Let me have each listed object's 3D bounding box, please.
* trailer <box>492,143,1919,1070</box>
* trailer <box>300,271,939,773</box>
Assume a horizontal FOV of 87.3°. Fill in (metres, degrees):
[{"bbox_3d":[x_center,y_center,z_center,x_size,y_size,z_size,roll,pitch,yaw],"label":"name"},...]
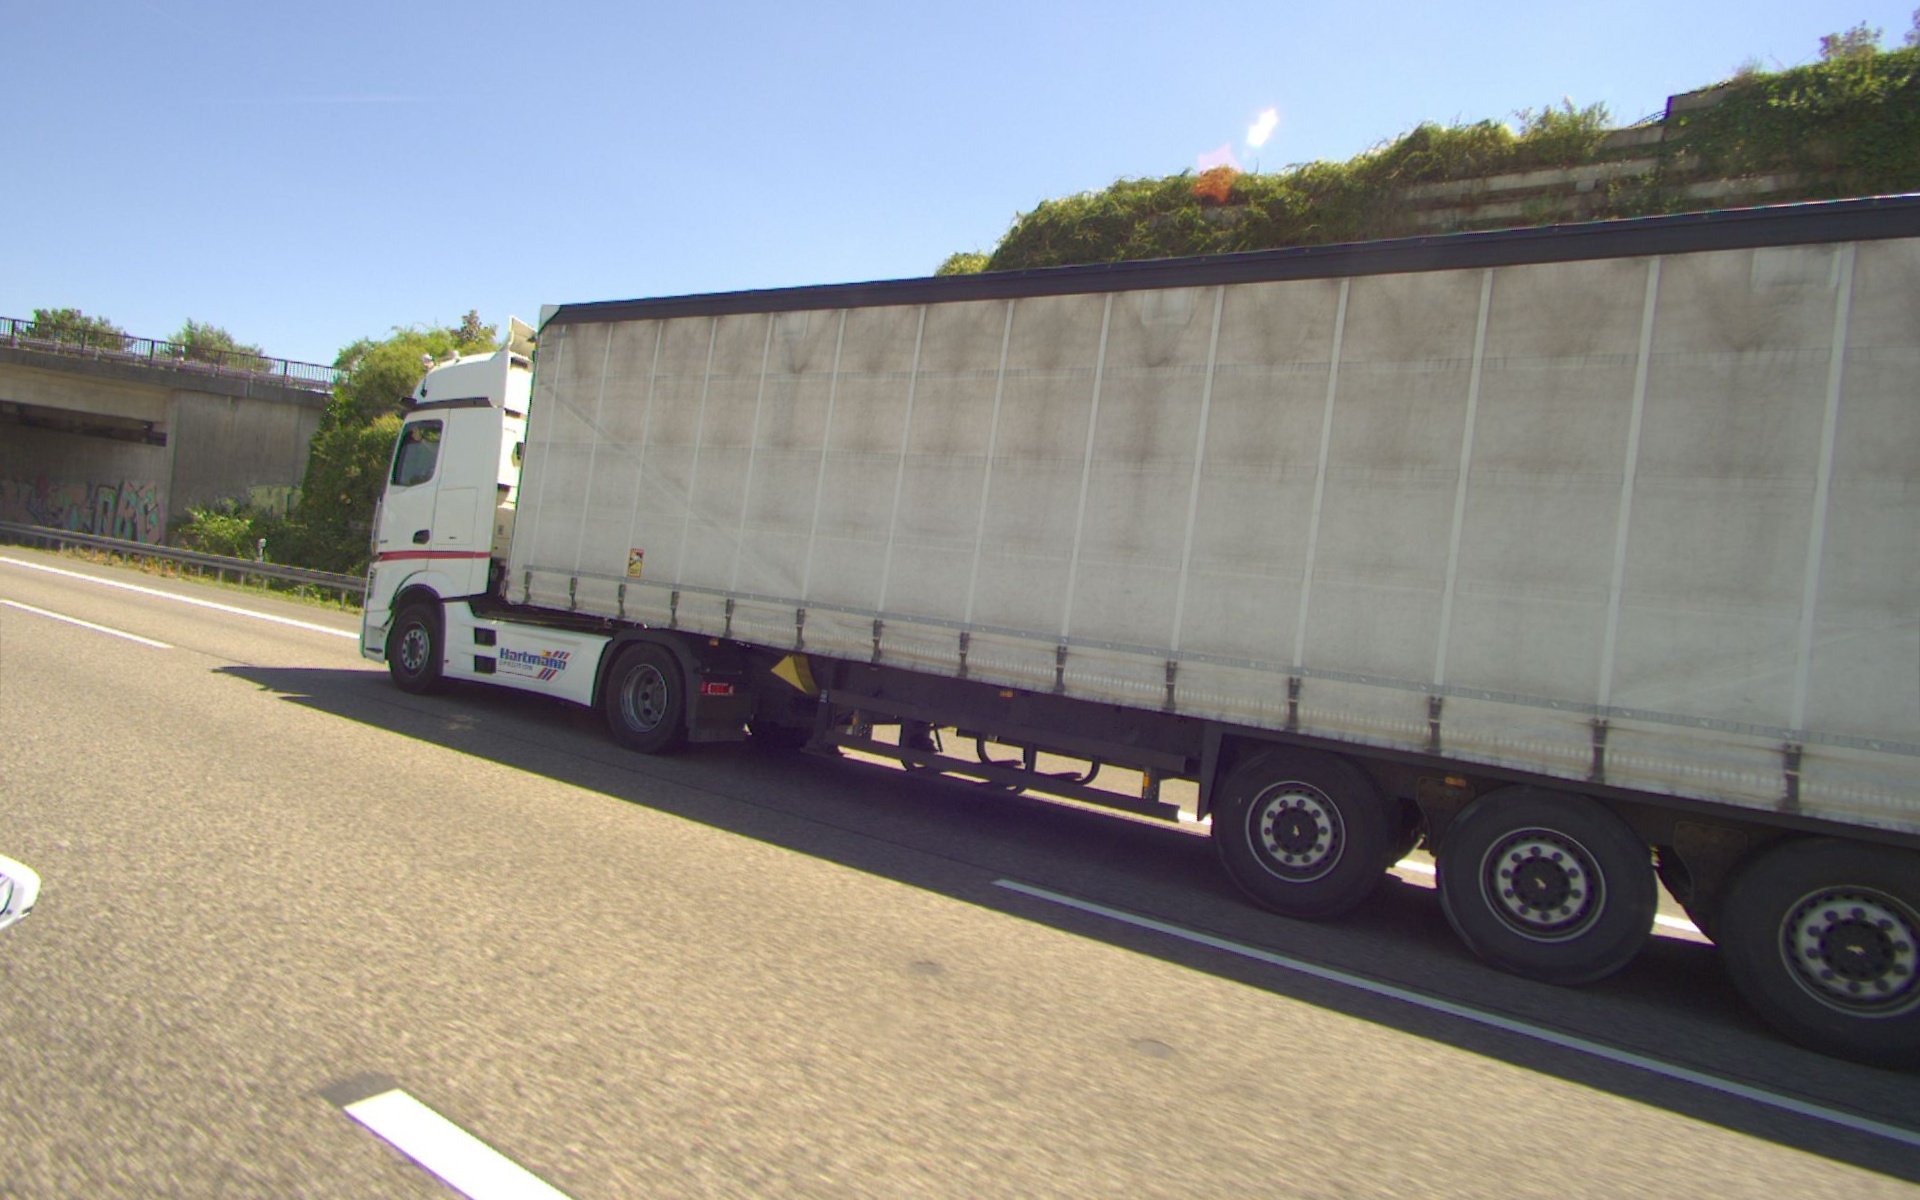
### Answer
[{"bbox_3d":[1.852,-0.246,7.620,12.970,4.152,2.732,6,0,31],"label":"trailer"},{"bbox_3d":[-3.975,-0.842,11.191,6.676,4.152,2.717,6,0,31],"label":"trailer"}]
